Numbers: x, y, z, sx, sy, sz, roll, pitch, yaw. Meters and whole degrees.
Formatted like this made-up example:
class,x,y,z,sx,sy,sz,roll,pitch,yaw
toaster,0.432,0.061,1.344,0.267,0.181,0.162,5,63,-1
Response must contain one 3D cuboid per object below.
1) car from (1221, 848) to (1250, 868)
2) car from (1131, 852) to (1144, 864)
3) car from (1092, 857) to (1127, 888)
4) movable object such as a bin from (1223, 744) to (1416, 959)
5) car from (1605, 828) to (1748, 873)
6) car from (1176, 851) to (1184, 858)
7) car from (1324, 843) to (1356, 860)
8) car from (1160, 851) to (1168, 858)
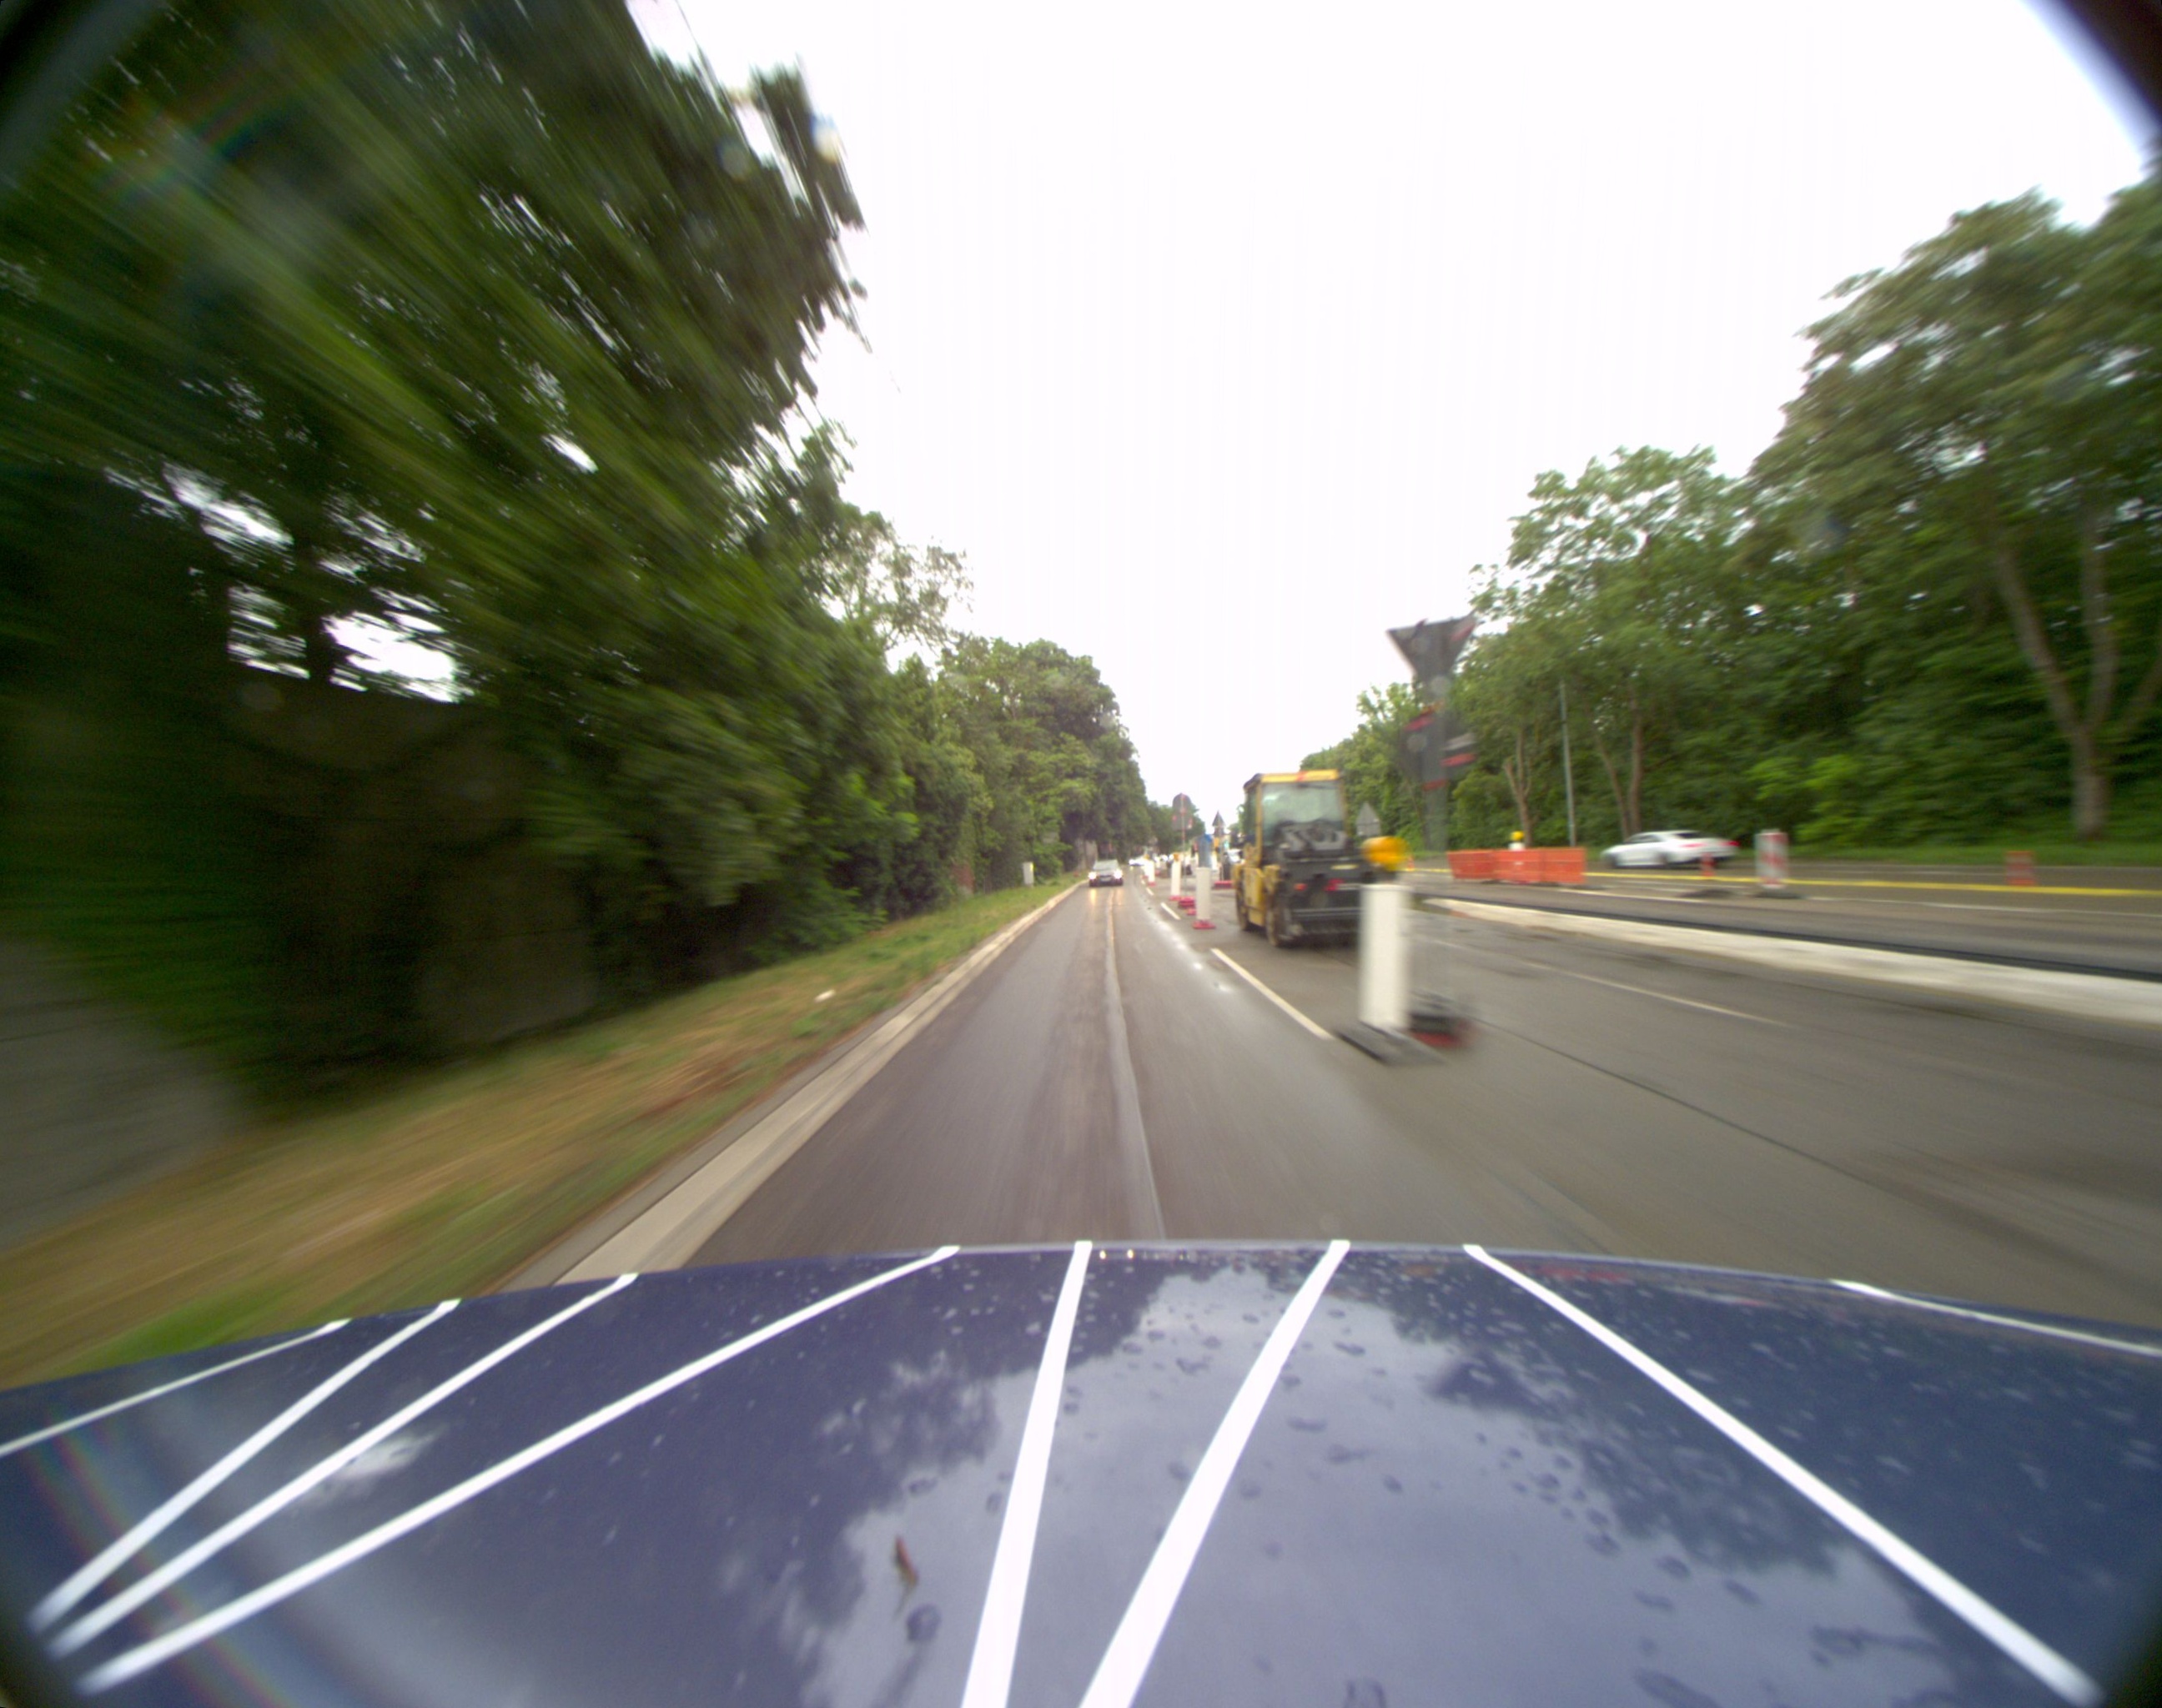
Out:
class,x,y,z,sx,sy,sz,roll,pitch,yaw
car,12.872,0.314,63.584,1.793,1.574,3.862,-4,0,4
car,8.272,0.559,111.251,1.707,1.681,4.474,-2,1,7
car,1.627,0.995,41.854,1.701,1.477,4.001,-2,1,4
movable object such as a bin,3.866,-0.040,13.398,1.808,2.968,5.246,-3,0,2
car,21.717,-0.121,27.980,1.788,1.418,4.469,-3,0,1
car,21.538,0.078,165.150,1.710,1.434,4.233,-2,1,8
car,25.749,-0.258,75.724,1.678,1.604,4.767,-2,0,2
car,19.580,0.045,178.430,1.710,1.434,4.233,-2,1,8
